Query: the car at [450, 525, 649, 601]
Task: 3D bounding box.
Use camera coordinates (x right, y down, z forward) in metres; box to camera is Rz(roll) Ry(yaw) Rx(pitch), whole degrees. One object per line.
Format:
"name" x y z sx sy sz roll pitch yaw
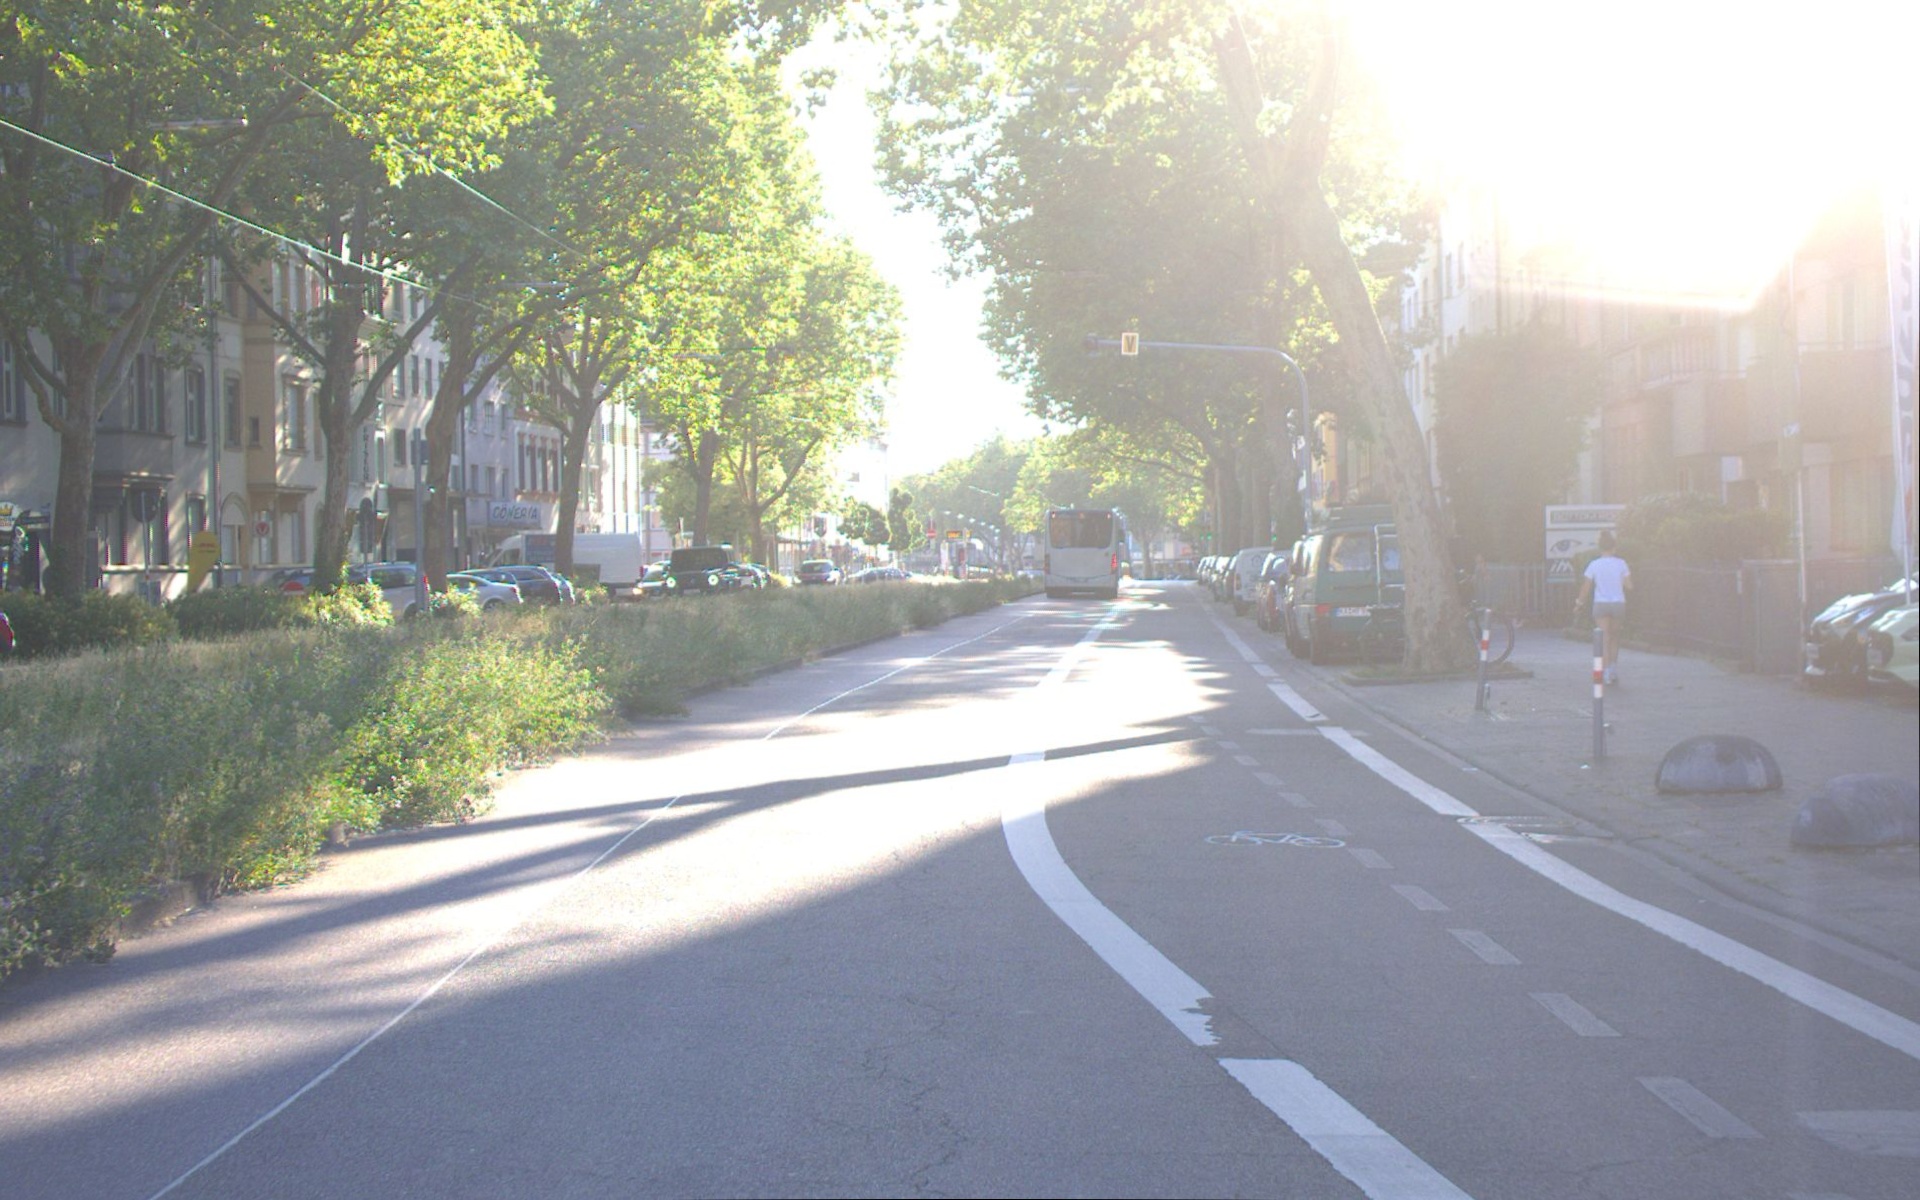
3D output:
"car" -15.082 -1.365 126.353 6.935 2.669 2.186 -1 0 -17

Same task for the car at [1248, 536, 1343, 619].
"car" 7.093 -0.470 73.012 1.744 1.684 3.852 -1 0 2

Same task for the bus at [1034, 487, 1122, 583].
"bus" 4.118 -2.238 121.471 2.833 3.224 8.182 -1 0 1

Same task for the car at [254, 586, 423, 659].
"car" -16.746 0.589 92.719 3.988 1.875 1.999 -1 0 -38

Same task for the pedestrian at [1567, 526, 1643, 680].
"pedestrian" 6.934 0.031 36.996 0.663 1.623 0.923 -1 0 3

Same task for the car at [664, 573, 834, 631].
"car" -6.357 0.055 103.532 4.759 1.688 1.876 -1 0 -18

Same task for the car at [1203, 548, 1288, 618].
"car" 7.469 -0.438 89.633 1.745 1.764 4.392 -1 0 10

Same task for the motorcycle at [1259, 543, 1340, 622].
"motorcycle" 6.227 -0.334 63.113 0.823 1.393 2.380 -3 1 -9

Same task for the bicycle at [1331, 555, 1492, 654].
"bicycle" 5.325 0.052 40.548 1.845 1.139 0.348 -1 0 3

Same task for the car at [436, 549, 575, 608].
"car" -14.627 -0.698 110.660 3.987 1.693 1.856 -3 1 -28

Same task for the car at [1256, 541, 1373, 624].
"car" 6.935 -0.344 67.558 1.993 1.555 3.980 -1 0 2

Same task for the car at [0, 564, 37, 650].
"car" -18.139 0.179 59.769 3.697 1.461 1.736 -3 2 -28

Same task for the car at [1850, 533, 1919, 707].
"car" 9.844 0.146 30.685 3.418 1.513 1.757 -1 0 5

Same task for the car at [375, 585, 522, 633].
"car" -15.128 0.264 101.682 3.986 1.351 1.586 -1 0 -28

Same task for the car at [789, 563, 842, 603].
"car" -5.982 -0.719 142.838 1.790 1.568 4.000 -1 1 4

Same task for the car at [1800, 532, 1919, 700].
"car" 9.860 0.126 32.610 3.418 1.541 1.442 -1 0 1

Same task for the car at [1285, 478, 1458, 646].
"car" 5.823 -0.524 49.227 1.993 2.249 5.235 -1 0 2

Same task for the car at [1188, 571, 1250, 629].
"car" 8.184 -0.018 108.866 1.744 1.764 4.988 -1 0 2
